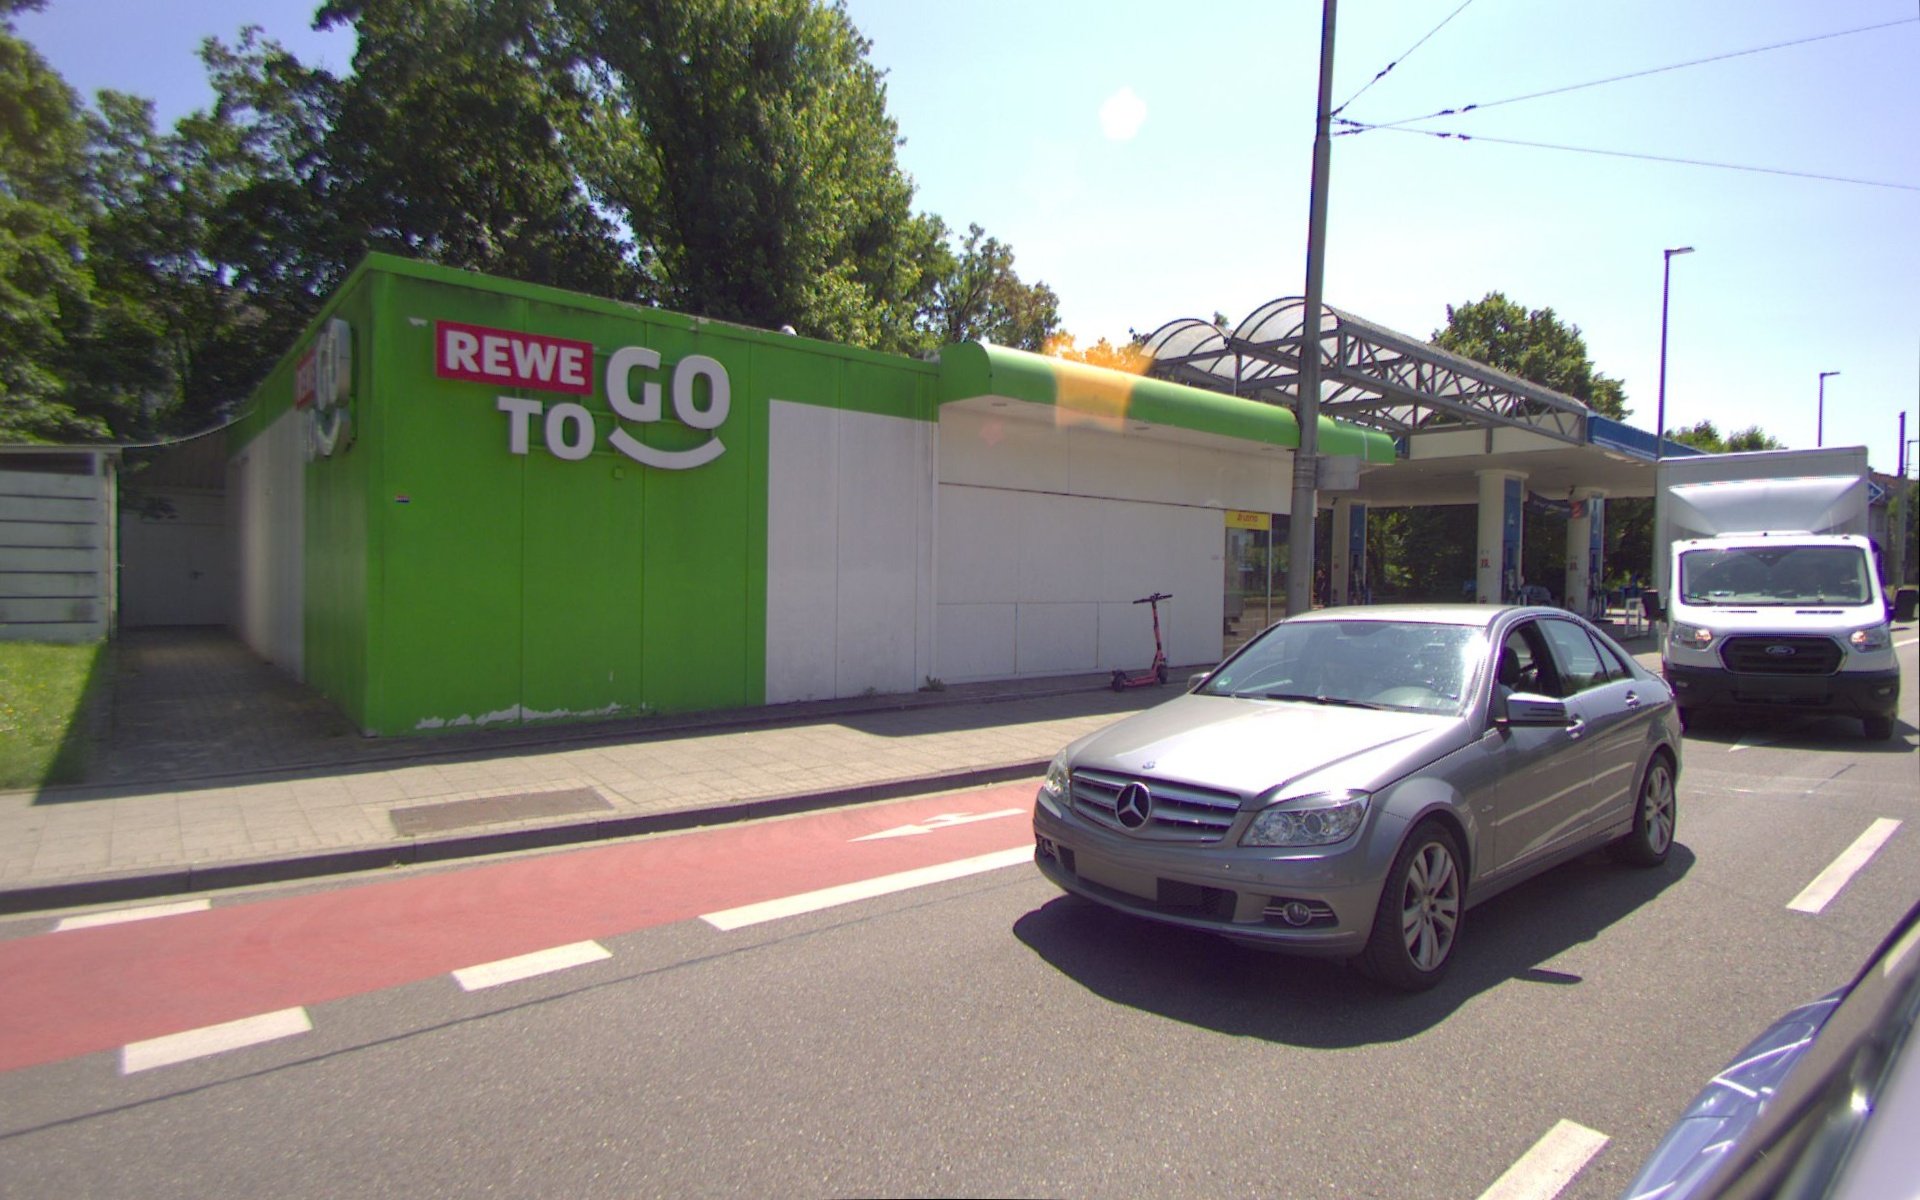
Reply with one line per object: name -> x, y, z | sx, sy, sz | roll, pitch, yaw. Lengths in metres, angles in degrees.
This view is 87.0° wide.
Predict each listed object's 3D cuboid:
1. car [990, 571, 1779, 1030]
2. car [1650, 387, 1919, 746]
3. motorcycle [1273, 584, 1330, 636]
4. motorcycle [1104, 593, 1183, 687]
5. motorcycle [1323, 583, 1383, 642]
car -> 2.706, 0.651, 5.594 | 5.205, 1.492, 1.717 | 0, 0, -38
car -> 10.789, -0.376, 13.576 | 2.218, 3.377, 8.523 | 0, 1, 36
motorcycle -> 7.926, 0.225, 23.489 | 0.389, 1.127, 1.156 | 2, 2, -42
motorcycle -> 2.338, 0.484, 12.847 | 1.098, 1.118, 0.253 | -1, 8, -41
motorcycle -> 8.754, 0.265, 22.560 | 0.357, 1.225, 1.156 | 2, 2, -42
